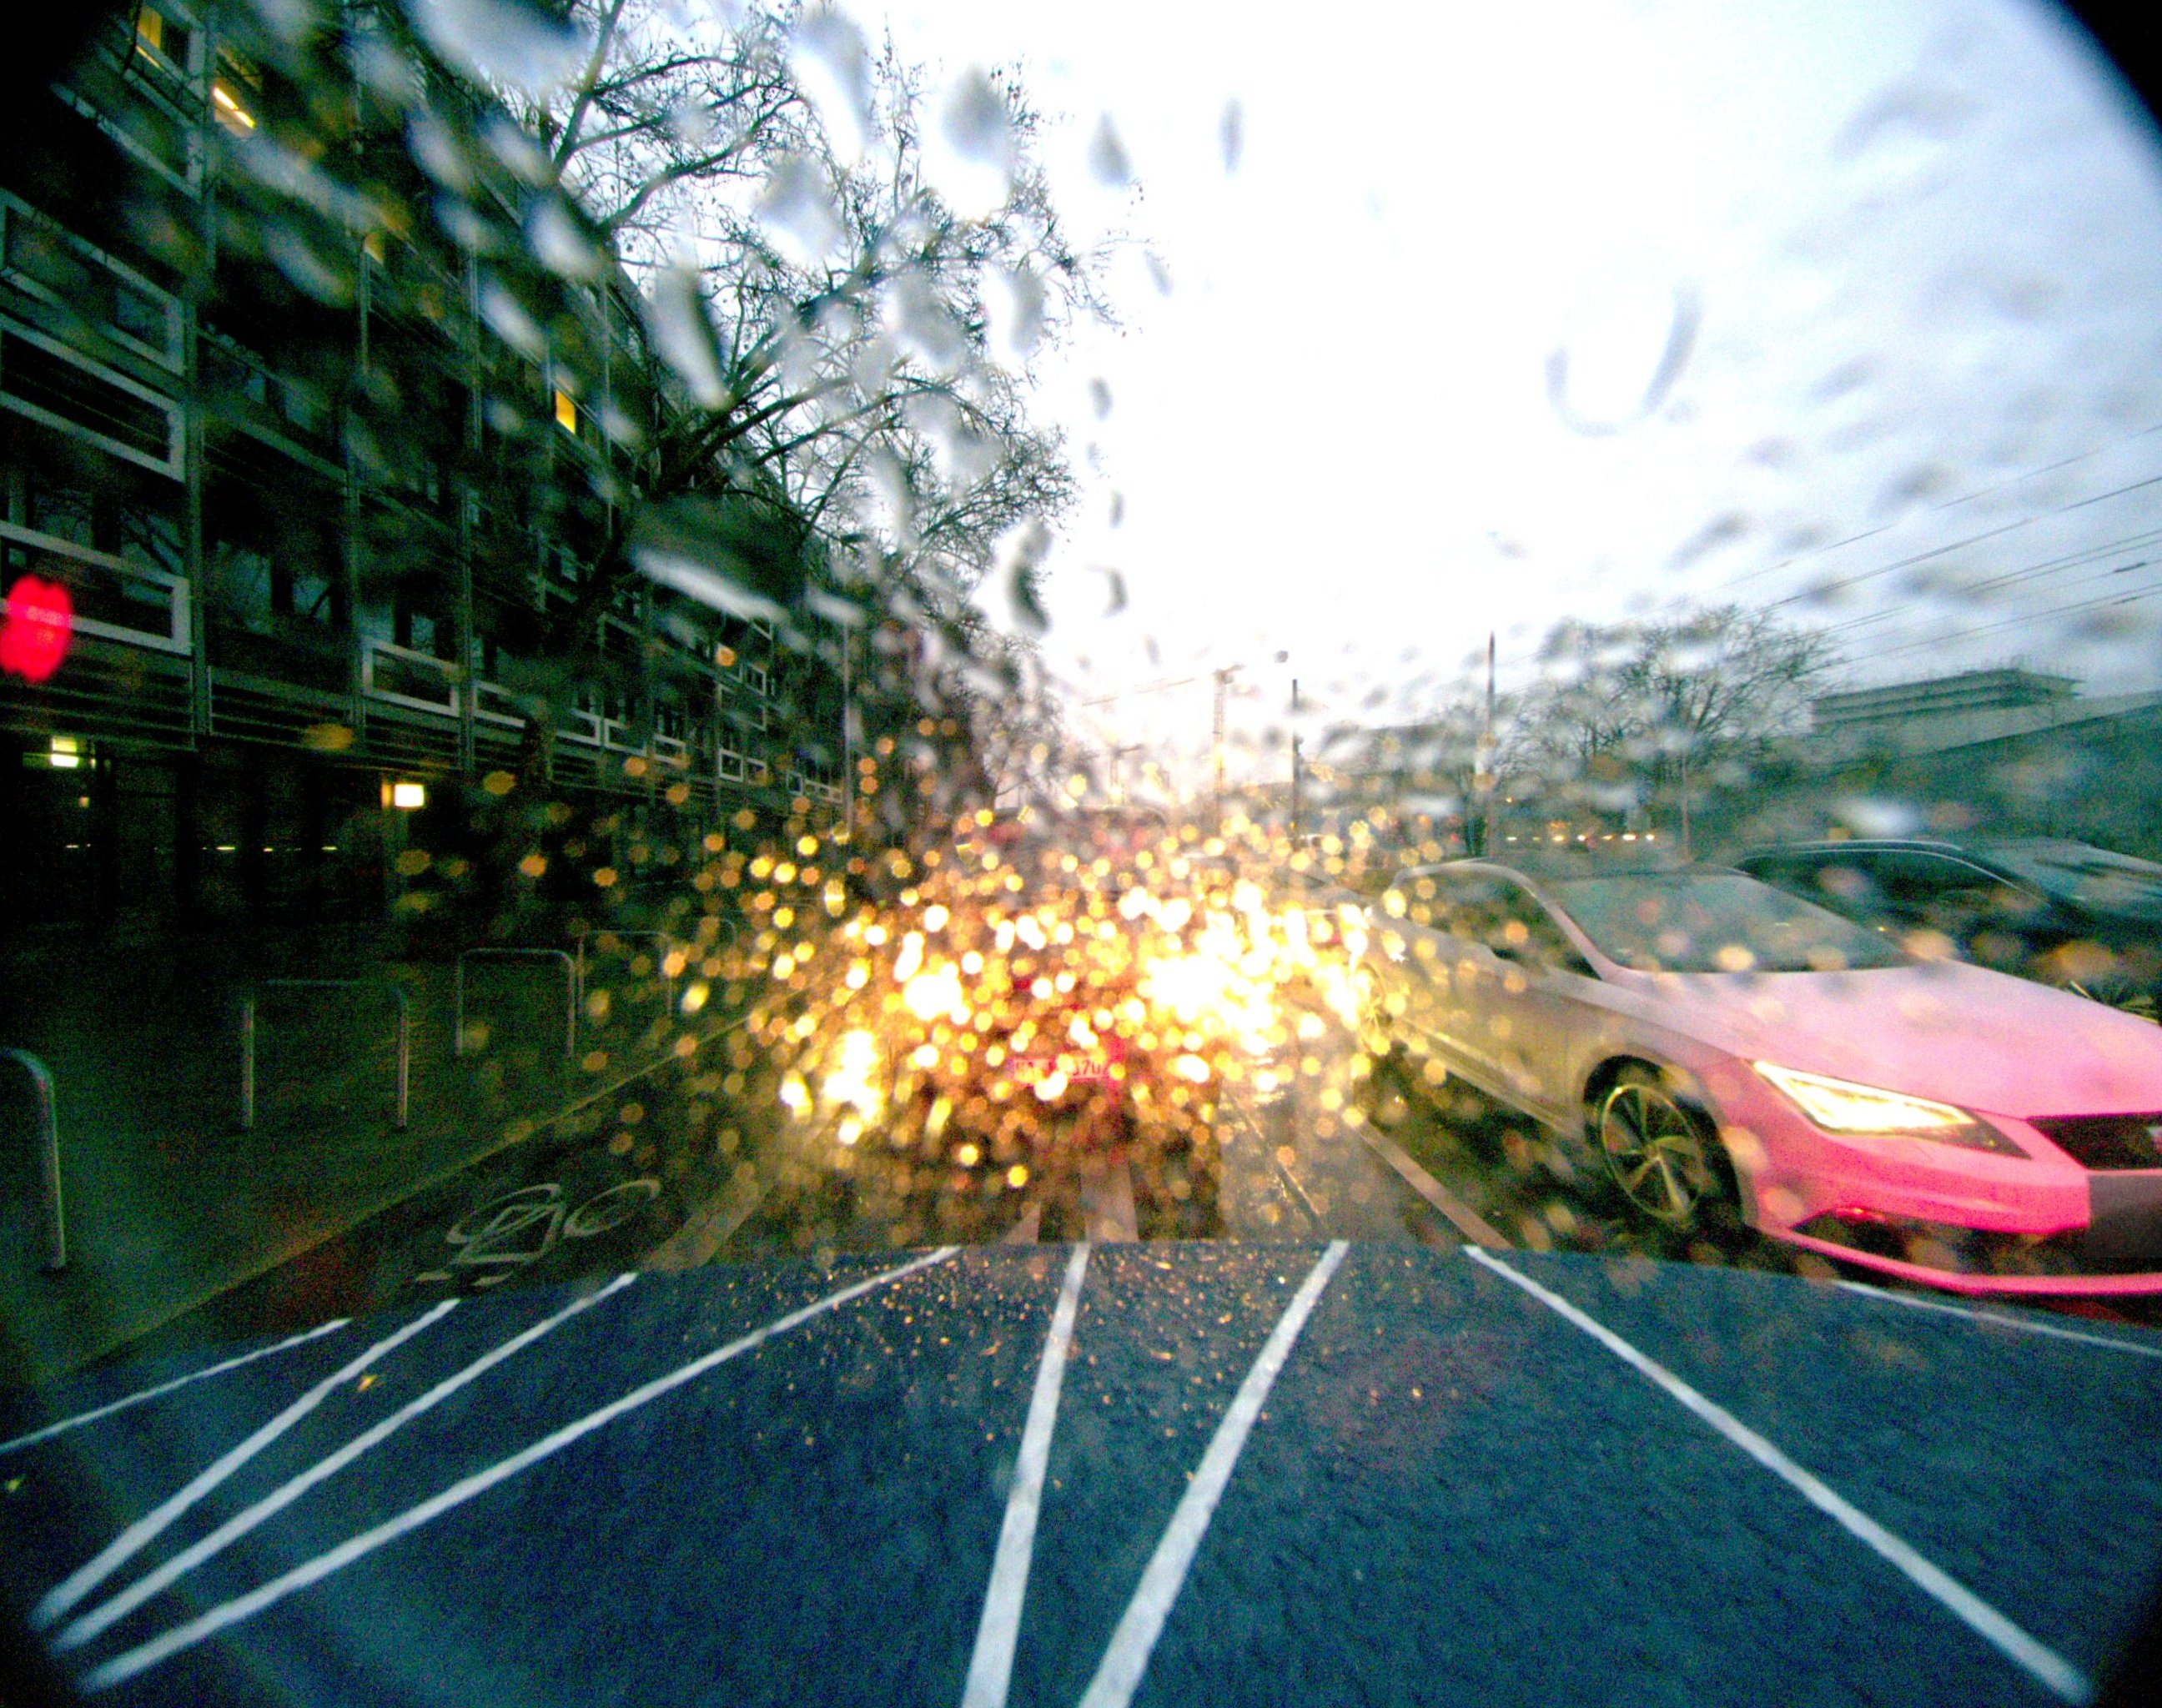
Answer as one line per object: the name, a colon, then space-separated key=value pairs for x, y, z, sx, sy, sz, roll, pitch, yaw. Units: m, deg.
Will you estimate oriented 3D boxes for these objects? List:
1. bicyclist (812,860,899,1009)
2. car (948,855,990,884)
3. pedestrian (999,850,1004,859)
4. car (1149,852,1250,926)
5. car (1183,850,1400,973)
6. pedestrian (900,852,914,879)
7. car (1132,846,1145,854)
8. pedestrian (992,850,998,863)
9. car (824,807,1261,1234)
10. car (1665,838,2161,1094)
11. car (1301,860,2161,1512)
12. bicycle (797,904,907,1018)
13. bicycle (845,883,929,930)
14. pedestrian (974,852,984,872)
bicyclist: x=-2.645 y=0.910 z=9.007 sx=0.704 sy=1.650 sz=0.964 roll=-1 pitch=0 yaw=1
car: x=-6.331 y=0.843 z=43.426 sx=1.713 sy=1.455 sz=3.999 roll=-2 pitch=1 yaw=1
pedestrian: x=-14.610 y=0.074 z=139.900 sx=0.766 sy=1.740 sz=0.928 roll=0 pitch=1 yaw=-4
car: x=2.843 y=0.792 z=19.091 sx=1.907 sy=1.565 sz=3.999 roll=-2 pitch=1 yaw=1
car: x=2.897 y=0.697 z=11.616 sx=1.999 sy=1.478 sz=4.504 roll=-1 pitch=0 yaw=-1
pedestrian: x=-11.511 y=0.750 z=50.301 sx=0.766 sy=1.740 sz=0.928 roll=0 pitch=1 yaw=-4
car: x=13.200 y=-0.891 z=175.004 sx=2.095 sy=1.884 sz=3.997 roll=-1 pitch=1 yaw=-7
pedestrian: x=-11.941 y=0.374 z=105.584 sx=0.766 sy=1.740 sz=0.928 roll=0 pitch=1 yaw=-4
car: x=-0.206 y=0.722 z=5.389 sx=1.878 sy=1.830 sz=3.999 roll=-2 pitch=1 yaw=-1
car: x=7.355 y=0.647 z=5.992 sx=1.853 sy=1.499 sz=4.662 roll=-1 pitch=1 yaw=-1
car: x=2.983 y=0.835 z=4.176 sx=1.949 sy=1.478 sz=4.504 roll=-2 pitch=0 yaw=-4
bicycle: x=-2.648 y=1.202 z=8.990 sx=0.710 sy=1.088 sz=1.784 roll=-1 pitch=0 yaw=1
bicycle: x=-4.494 y=1.203 z=17.667 sx=1.704 sy=0.987 sz=0.879 roll=1 pitch=1 yaw=0
pedestrian: x=-8.924 y=0.695 z=66.607 sx=0.766 sy=1.740 sz=0.928 roll=0 pitch=1 yaw=-4
